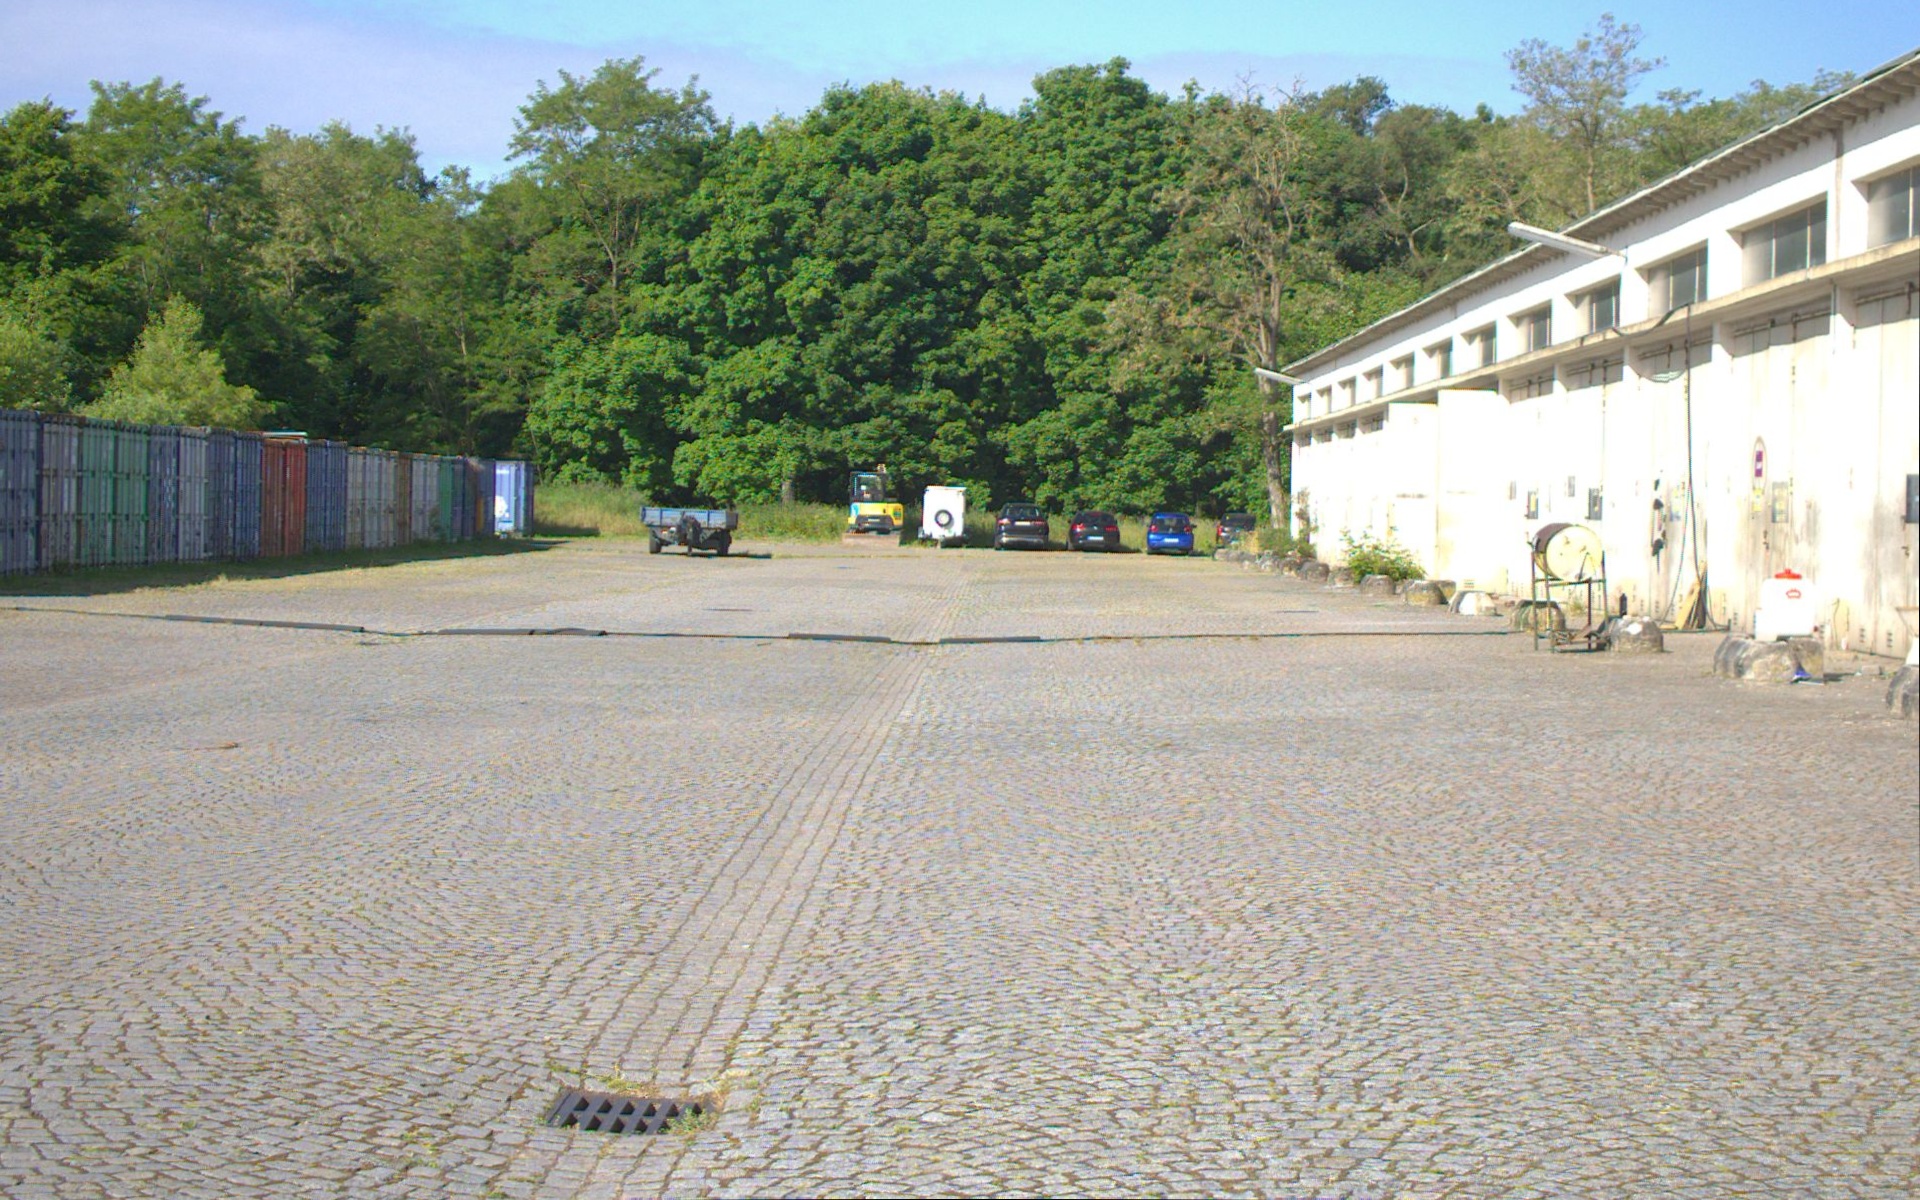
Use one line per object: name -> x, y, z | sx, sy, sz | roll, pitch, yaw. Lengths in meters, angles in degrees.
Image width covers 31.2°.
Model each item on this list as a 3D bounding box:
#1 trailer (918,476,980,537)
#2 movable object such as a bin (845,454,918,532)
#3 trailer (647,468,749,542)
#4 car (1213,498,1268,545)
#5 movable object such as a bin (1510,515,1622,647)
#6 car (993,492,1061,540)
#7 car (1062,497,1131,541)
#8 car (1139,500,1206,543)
trailer -> -0.362, -3.289, 120.834 | 1.794, 2.083, 3.971 | 1, 2, 5
movable object such as a bin -> -2.746, -3.757, 121.144 | 1.994, 2.609, 4.000 | 3, 2, 5
trailer -> -7.737, -2.805, 101.842 | 2.407, 2.006, 4.173 | 3, 2, 3
car -> 9.859, -2.759, 120.502 | 1.686, 1.558, 3.999 | 2, 2, 8
movable object such as a bin -> 6.273, -0.207, 35.628 | 0.823, 1.327, 1.280 | 1, 1, -4
car -> 2.335, -2.924, 119.093 | 1.862, 1.580, 3.999 | 2, 2, 8
car -> 4.743, -2.803, 119.243 | 1.994, 1.457, 3.999 | 2, 2, 8
car -> 7.375, -2.742, 119.194 | 1.994, 1.415, 3.999 | 2, 2, 8
